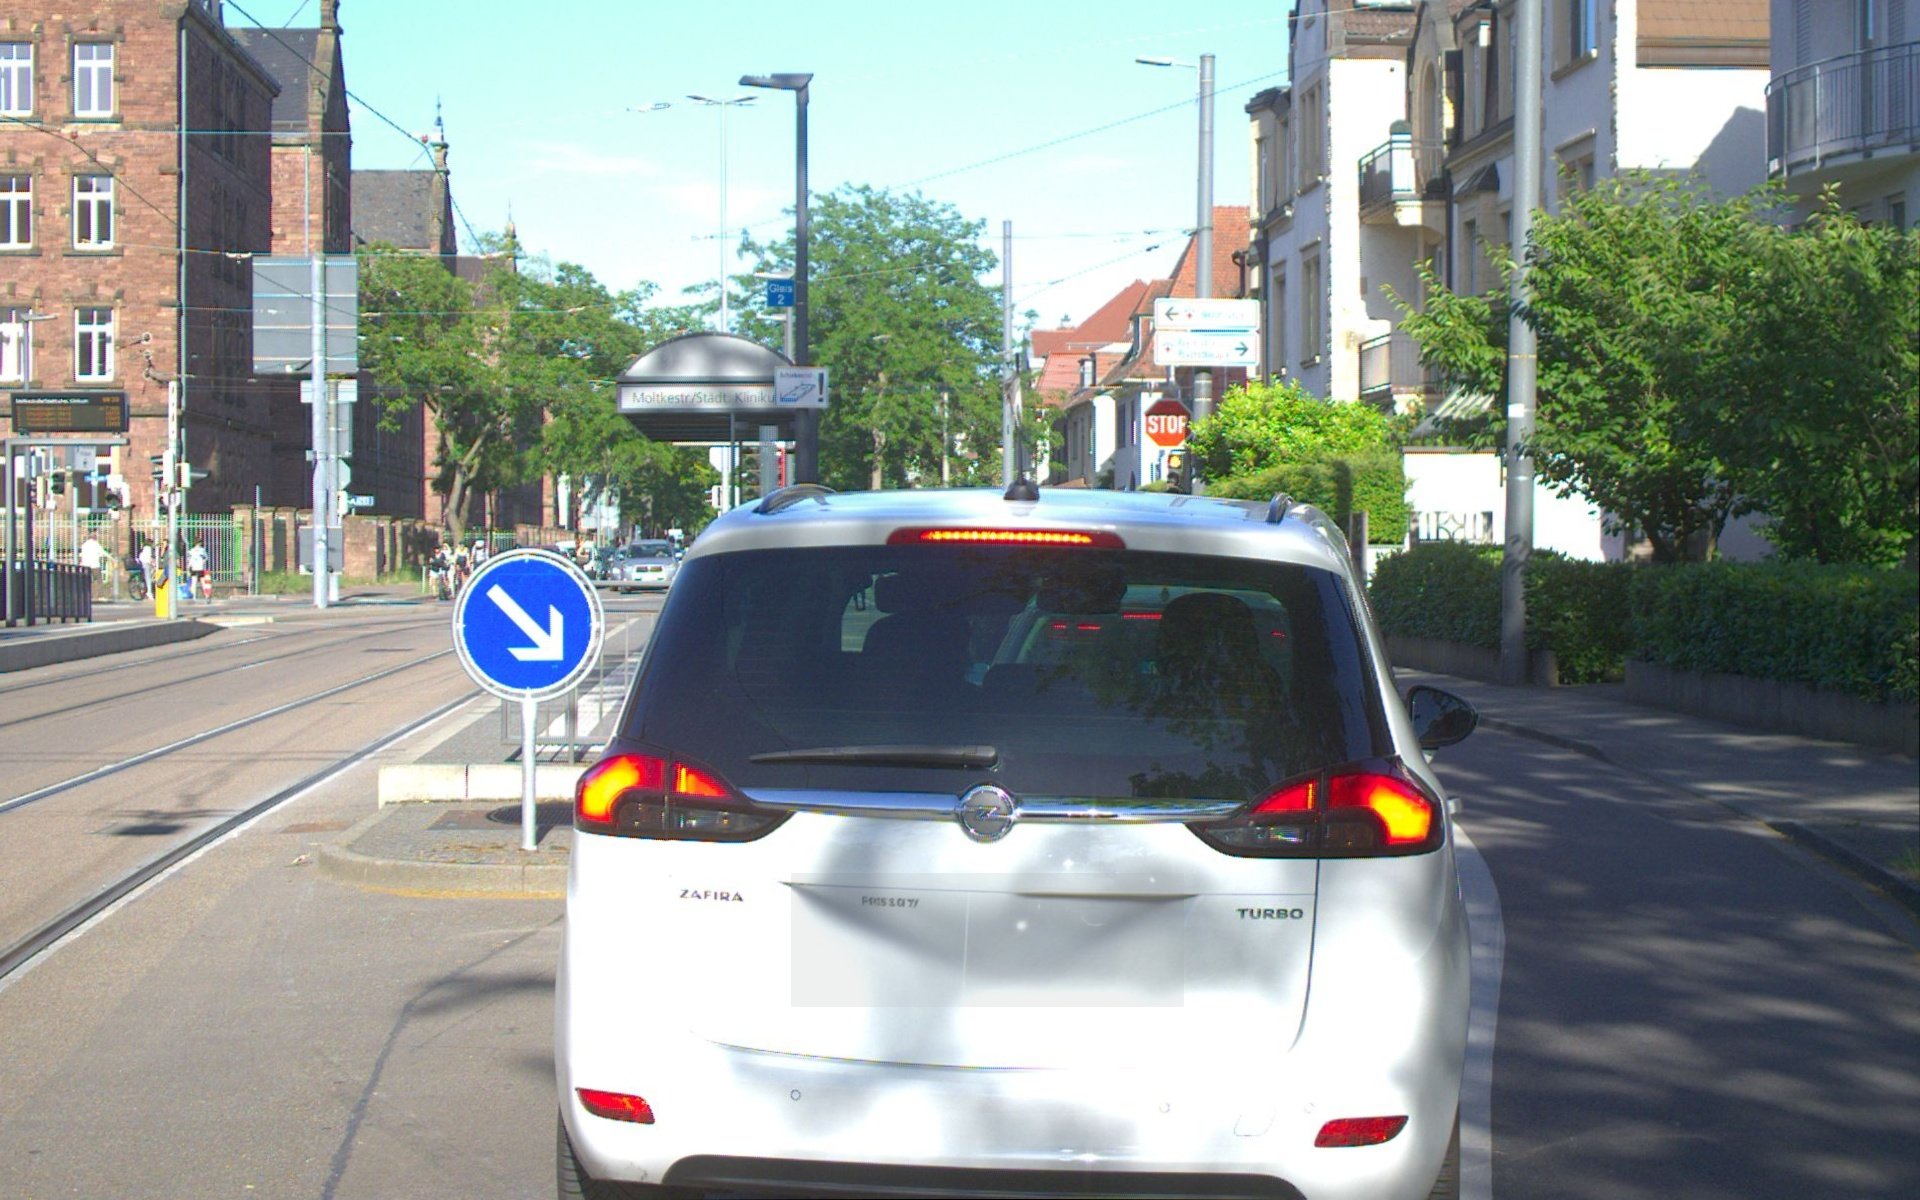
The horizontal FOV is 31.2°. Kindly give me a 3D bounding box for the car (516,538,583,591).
[{"bbox_3d":[-13.551,-1.169,113.720,1.746,1.710,4.000,1,1,-1],"label":"car"}]

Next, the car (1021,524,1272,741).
[{"bbox_3d":[1.566,0.212,28.282,1.907,1.656,4.000,0,1,4],"label":"car"}]

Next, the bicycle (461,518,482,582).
[{"bbox_3d":[-15.532,-1.594,109.254,0.487,2.007,1.405,0,1,0],"label":"bicycle"}]

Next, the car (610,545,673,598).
[{"bbox_3d":[-10.649,-0.963,115.226,1.746,1.710,4.000,1,1,-1],"label":"car"}]

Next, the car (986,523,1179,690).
[{"bbox_3d":[1.243,0.030,36.119,1.907,1.656,4.000,0,1,1],"label":"car"}]

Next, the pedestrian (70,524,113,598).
[{"bbox_3d":[-22.490,-1.002,88.995,0.808,1.894,0.743,1,0,14],"label":"pedestrian"}]

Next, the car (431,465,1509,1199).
[{"bbox_3d":[0.231,0.554,8.037,1.907,1.656,3.999,0,1,7],"label":"car"}]

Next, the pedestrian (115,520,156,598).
[{"bbox_3d":[-21.197,-1.056,88.354,0.795,2.007,0.720,1,0,-34],"label":"pedestrian"}]

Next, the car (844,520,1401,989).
[{"bbox_3d":[0.780,0.488,13.782,1.907,1.592,3.999,0,1,7],"label":"car"}]

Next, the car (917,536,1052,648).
[{"bbox_3d":[0.338,-0.157,53.097,1.907,1.656,4.001,0,1,-2],"label":"car"}]

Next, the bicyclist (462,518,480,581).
[{"bbox_3d":[-15.533,-1.597,109.205,0.498,2.007,0.572,0,1,-1],"label":"bicyclist"}]

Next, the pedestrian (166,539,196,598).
[{"bbox_3d":[-21.597,-0.873,95.315,0.654,1.606,0.711,1,0,2],"label":"pedestrian"}]

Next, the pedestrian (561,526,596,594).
[{"bbox_3d":[-10.794,-1.128,97.327,0.741,1.894,0.811,1,0,-24],"label":"pedestrian"}]

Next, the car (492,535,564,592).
[{"bbox_3d":[-13.425,-1.133,107.052,1.746,1.710,4.000,1,1,-1],"label":"car"}]

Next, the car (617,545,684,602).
[{"bbox_3d":[-9.638,-0.832,107.369,1.746,1.710,4.000,1,1,-1],"label":"car"}]

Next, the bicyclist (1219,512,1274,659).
[{"bbox_3d":[3.312,-0.172,39.738,0.616,1.681,0.779,0,1,4],"label":"bicyclist"}]

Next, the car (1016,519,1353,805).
[{"bbox_3d":[1.502,0.314,21.621,1.907,1.619,3.999,0,1,7],"label":"car"}]

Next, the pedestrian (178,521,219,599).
[{"bbox_3d":[-19.711,-1.041,88.977,0.795,2.007,0.720,1,0,-37],"label":"pedestrian"}]

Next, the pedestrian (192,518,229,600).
[{"bbox_3d":[-18.527,-1.011,84.983,0.794,2.007,0.721,1,0,-17],"label":"pedestrian"}]

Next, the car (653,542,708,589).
[{"bbox_3d":[-10.486,-1.311,129.078,1.746,1.710,4.000,1,1,-1],"label":"car"}]
